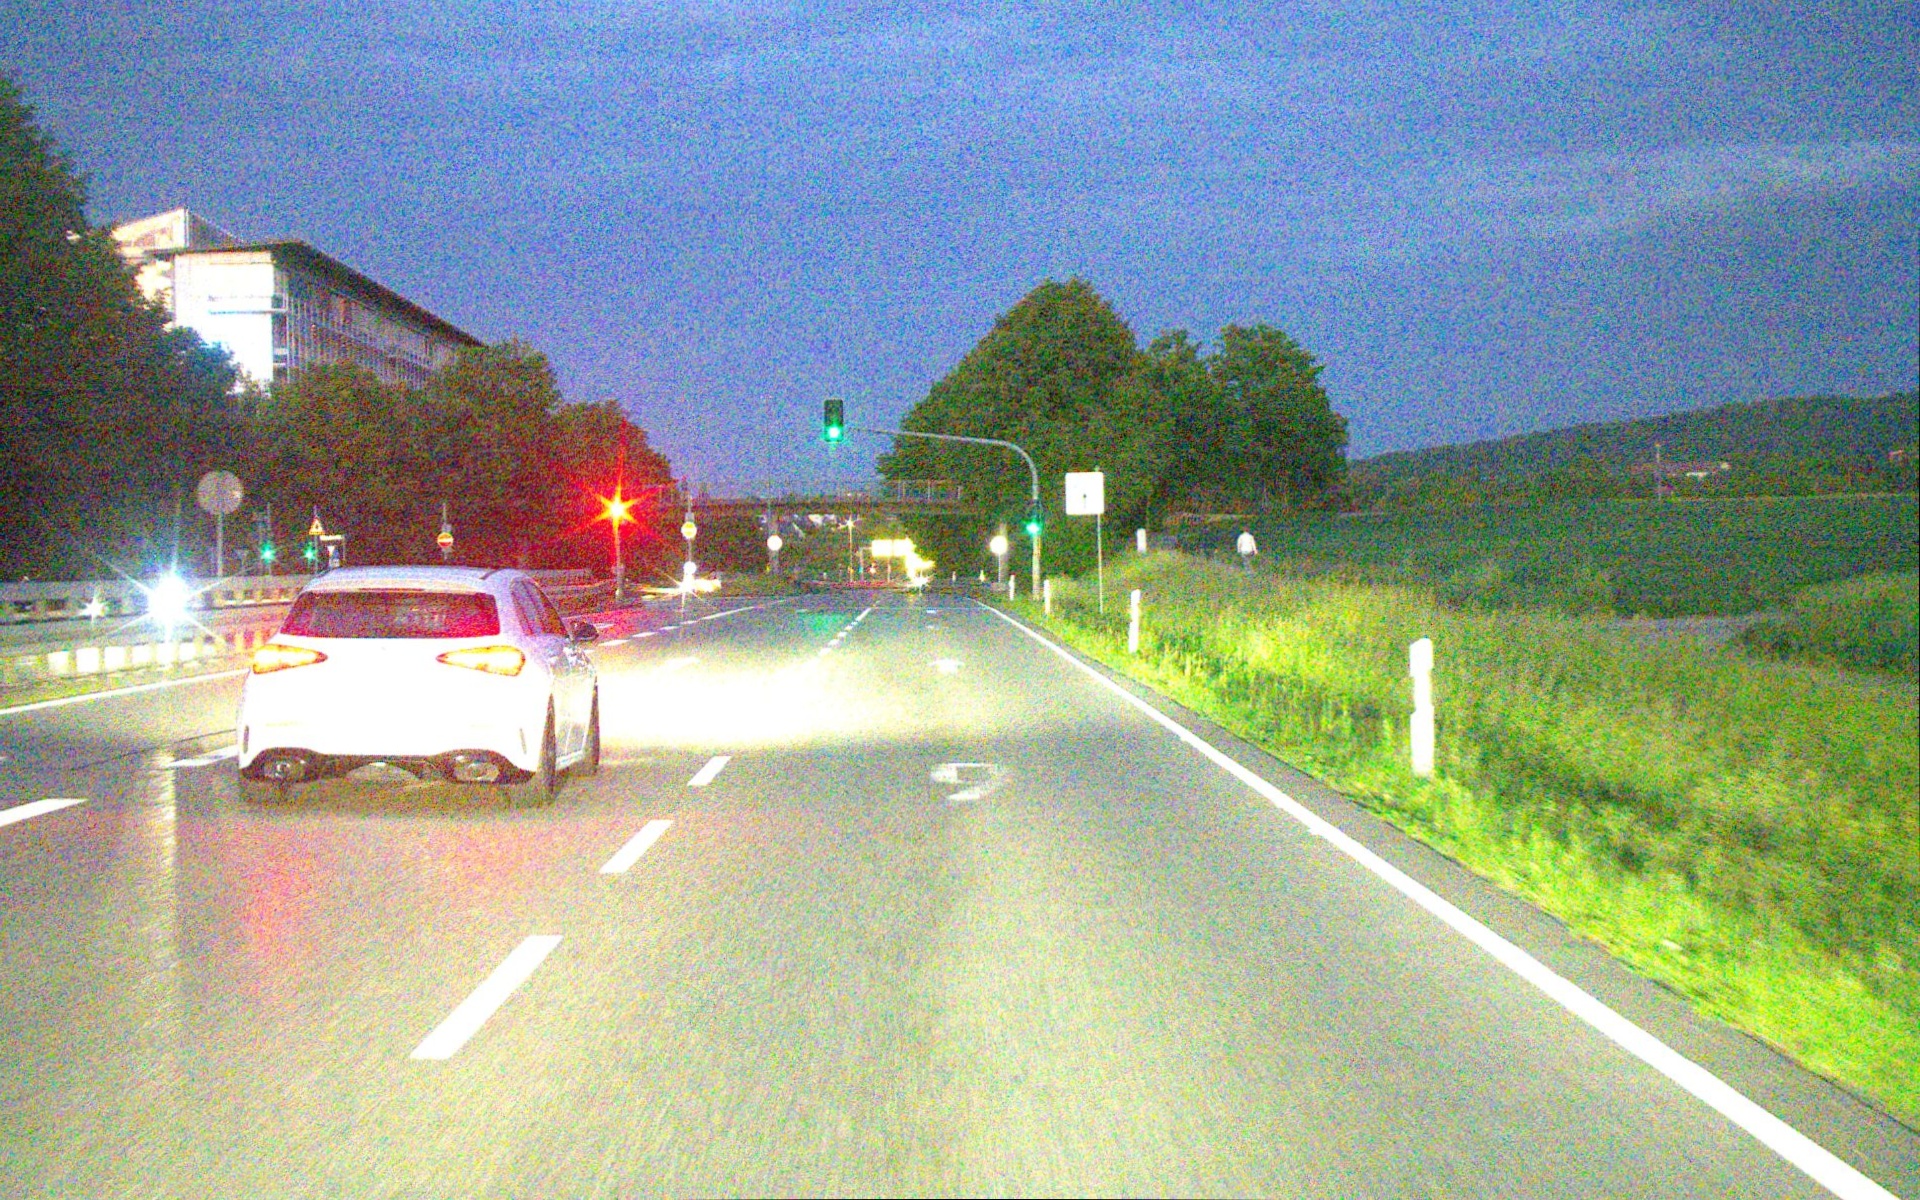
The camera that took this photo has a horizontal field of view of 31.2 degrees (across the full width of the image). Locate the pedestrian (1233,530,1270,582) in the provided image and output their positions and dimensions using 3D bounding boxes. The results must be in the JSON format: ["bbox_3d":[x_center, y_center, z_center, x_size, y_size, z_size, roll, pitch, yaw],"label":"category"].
[{"bbox_3d":[9.703,-1.459,114.379,1.090,1.717,1.260,0,0,-1],"label":"pedestrian"}]

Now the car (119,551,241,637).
[{"bbox_3d":[-16.125,-0.139,71.234,1.613,1.717,4.316,0,1,-1],"label":"car"}]

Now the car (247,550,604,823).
[{"bbox_3d":[-3.218,0.449,21.466,1.642,1.485,4.580,0,1,-2],"label":"car"}]

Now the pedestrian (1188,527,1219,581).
[{"bbox_3d":[8.122,-1.524,114.572,0.921,1.787,1.106,0,1,-1],"label":"pedestrian"}]
